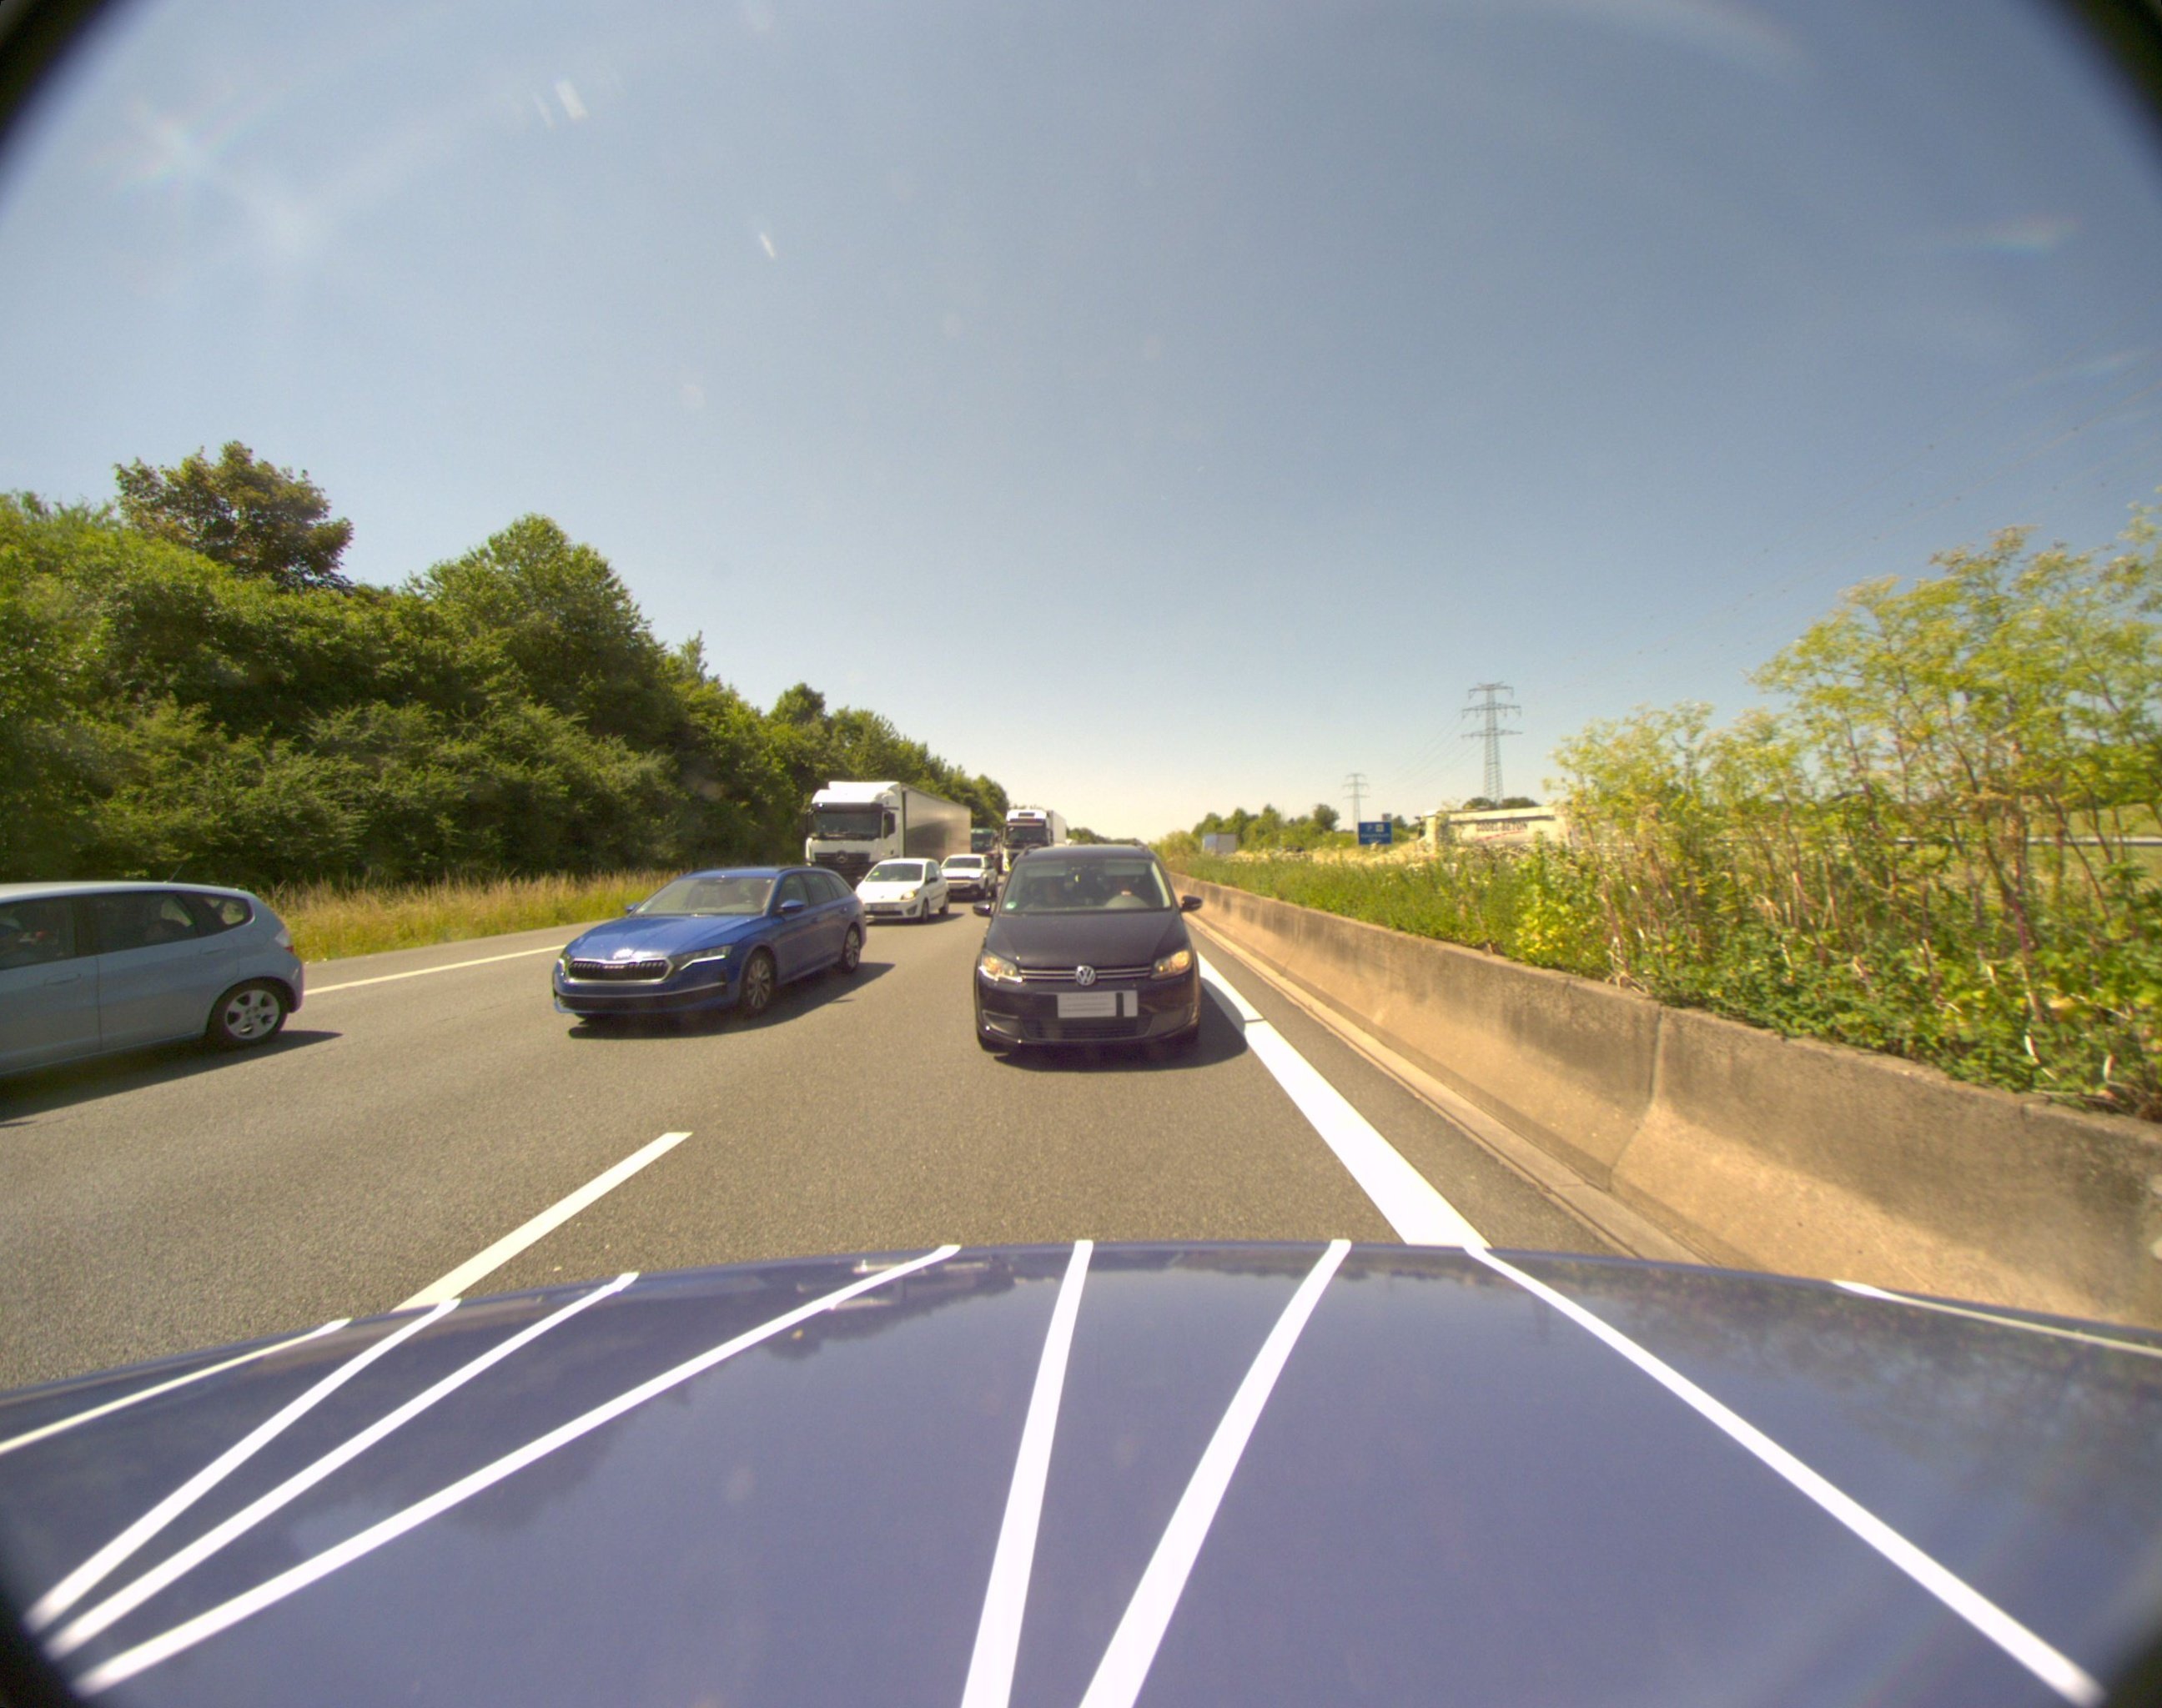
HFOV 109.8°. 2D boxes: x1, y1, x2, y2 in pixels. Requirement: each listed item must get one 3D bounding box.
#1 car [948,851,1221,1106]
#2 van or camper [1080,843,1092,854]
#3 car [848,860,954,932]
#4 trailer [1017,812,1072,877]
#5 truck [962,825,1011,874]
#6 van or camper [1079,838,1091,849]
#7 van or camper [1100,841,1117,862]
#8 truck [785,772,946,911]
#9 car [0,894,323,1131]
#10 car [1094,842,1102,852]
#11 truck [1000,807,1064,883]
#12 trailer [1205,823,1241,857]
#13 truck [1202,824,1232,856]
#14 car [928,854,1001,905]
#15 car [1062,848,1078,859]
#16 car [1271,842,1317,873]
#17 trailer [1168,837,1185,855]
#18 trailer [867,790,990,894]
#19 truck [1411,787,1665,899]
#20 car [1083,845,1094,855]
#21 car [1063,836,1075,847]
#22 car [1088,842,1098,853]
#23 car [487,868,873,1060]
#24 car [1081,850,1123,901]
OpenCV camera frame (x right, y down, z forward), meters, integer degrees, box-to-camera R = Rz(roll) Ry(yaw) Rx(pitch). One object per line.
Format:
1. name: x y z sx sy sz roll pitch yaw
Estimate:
1. car: 0.111 0.814 7.622 1.758 1.571 5.291 -1 1 2
2. van or camper: 1.027 -1.113 147.536 2.189 2.018 4.364 -1 1 3
3. car: -4.190 0.923 18.284 1.609 1.426 3.809 0 1 0
4. trailer: -2.354 -0.661 52.138 2.776 3.951 9.156 -1 1 3
5. truck: -6.419 -0.338 52.449 2.299 3.128 5.675 -1 1 3
6. van or camper: 1.087 -2.656 190.925 2.745 2.680 5.363 -2 1 2
7. van or camper: 3.412 -0.353 93.978 1.956 2.368 4.037 -3 1 3
8. truck: -7.309 -0.426 27.320 2.879 4.133 8.475 -1 1 3
9. car: -8.018 1.119 5.197 1.666 1.453 3.922 0 1 1
10. car: 4.171 -1.728 186.930 1.998 2.302 4.229 -2 1 2
11. truck: -2.699 -0.530 44.781 2.750 3.972 8.361 -1 1 3
12. trailer: 18.716 -1.813 100.729 3.019 4.203 10.980 -2 1 2
13. truck: 18.909 -1.933 106.006 3.019 4.203 6.685 -2 1 2
14. car: -3.850 0.802 25.787 1.748 1.549 3.884 0 1 2
15. car: -1.359 -0.075 93.326 1.650 1.336 3.381 -1 1 3
16. car: 12.692 0.195 45.481 1.609 1.777 4.026 -1 1 1
17. trailer: 23.305 -2.056 186.359 2.828 4.182 10.684 -3 1 2
18. trailer: -6.883 -0.557 36.706 2.879 4.133 12.075 -1 1 3
19. truck: 16.083 -0.372 28.364 2.771 3.269 11.820 -1 1 2
20. car: 1.365 -0.665 131.156 1.652 1.636 4.000 -1 1 3
21. car: -2.336 -2.307 145.188 1.998 2.002 4.000 -2 1 2
22. car: 2.664 -1.497 167.987 1.998 2.302 4.229 -2 1 1
23. car: -3.947 0.955 8.572 1.780 1.408 4.572 0 1 2
24. car: 0.791 0.740 27.328 1.357 1.630 2.994 -3 1 3
